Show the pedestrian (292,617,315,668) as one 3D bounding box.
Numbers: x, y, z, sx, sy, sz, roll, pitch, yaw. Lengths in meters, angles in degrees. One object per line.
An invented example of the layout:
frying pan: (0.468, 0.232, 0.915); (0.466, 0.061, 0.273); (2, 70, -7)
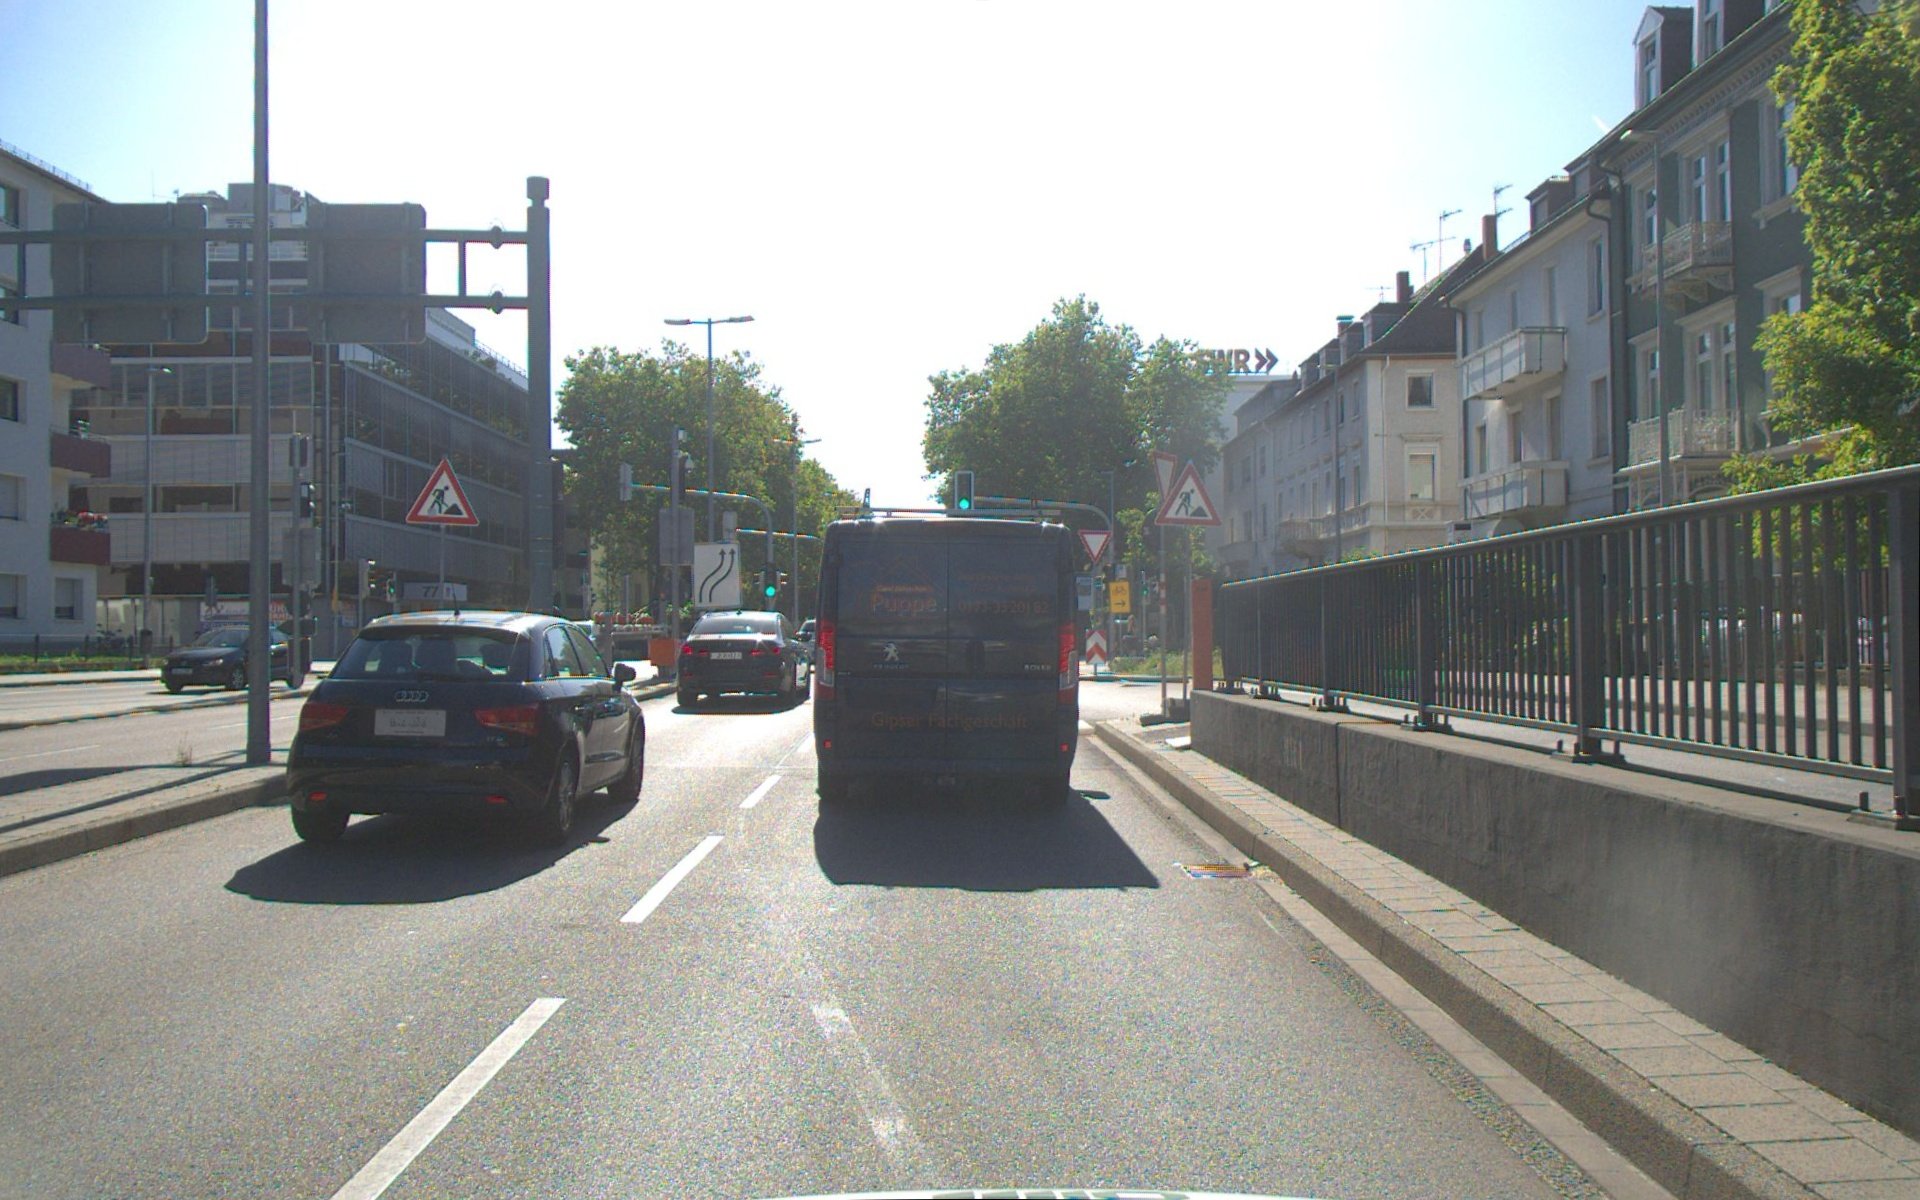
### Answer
pedestrian: (-25.042, 1.603, 63.101); (0.647, 1.929, 0.721); (1, -1, -14)

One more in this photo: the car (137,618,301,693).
car: (-16.776, 1.213, 37.672); (1.896, 1.582, 3.923); (1, 0, 1)

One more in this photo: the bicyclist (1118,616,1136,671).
bicyclist: (5.338, 1.385, 52.870); (0.499, 1.766, 0.597); (1, -1, -1)

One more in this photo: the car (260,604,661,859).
car: (-3.231, 0.771, 11.482); (1.661, 1.443, 3.887); (1, 0, -2)

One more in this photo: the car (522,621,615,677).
car: (-11.913, 1.476, 50.541); (1.896, 1.582, 3.922); (1, 0, -1)

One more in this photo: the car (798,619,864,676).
car: (-3.592, 1.297, 46.465); (1.586, 1.427, 3.851); (1, 1, -1)

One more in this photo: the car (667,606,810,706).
car: (-3.528, 0.877, 27.170); (1.772, 1.464, 5.000); (1, -1, -2)

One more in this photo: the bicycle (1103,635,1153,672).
bicycle: (5.362, 1.704, 52.866); (1.534, 1.138, 0.570); (1, -1, -2)

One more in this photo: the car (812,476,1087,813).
car: (-0.103, 0.340, 14.047); (1.989, 2.444, 3.972); (0, -1, -1)
